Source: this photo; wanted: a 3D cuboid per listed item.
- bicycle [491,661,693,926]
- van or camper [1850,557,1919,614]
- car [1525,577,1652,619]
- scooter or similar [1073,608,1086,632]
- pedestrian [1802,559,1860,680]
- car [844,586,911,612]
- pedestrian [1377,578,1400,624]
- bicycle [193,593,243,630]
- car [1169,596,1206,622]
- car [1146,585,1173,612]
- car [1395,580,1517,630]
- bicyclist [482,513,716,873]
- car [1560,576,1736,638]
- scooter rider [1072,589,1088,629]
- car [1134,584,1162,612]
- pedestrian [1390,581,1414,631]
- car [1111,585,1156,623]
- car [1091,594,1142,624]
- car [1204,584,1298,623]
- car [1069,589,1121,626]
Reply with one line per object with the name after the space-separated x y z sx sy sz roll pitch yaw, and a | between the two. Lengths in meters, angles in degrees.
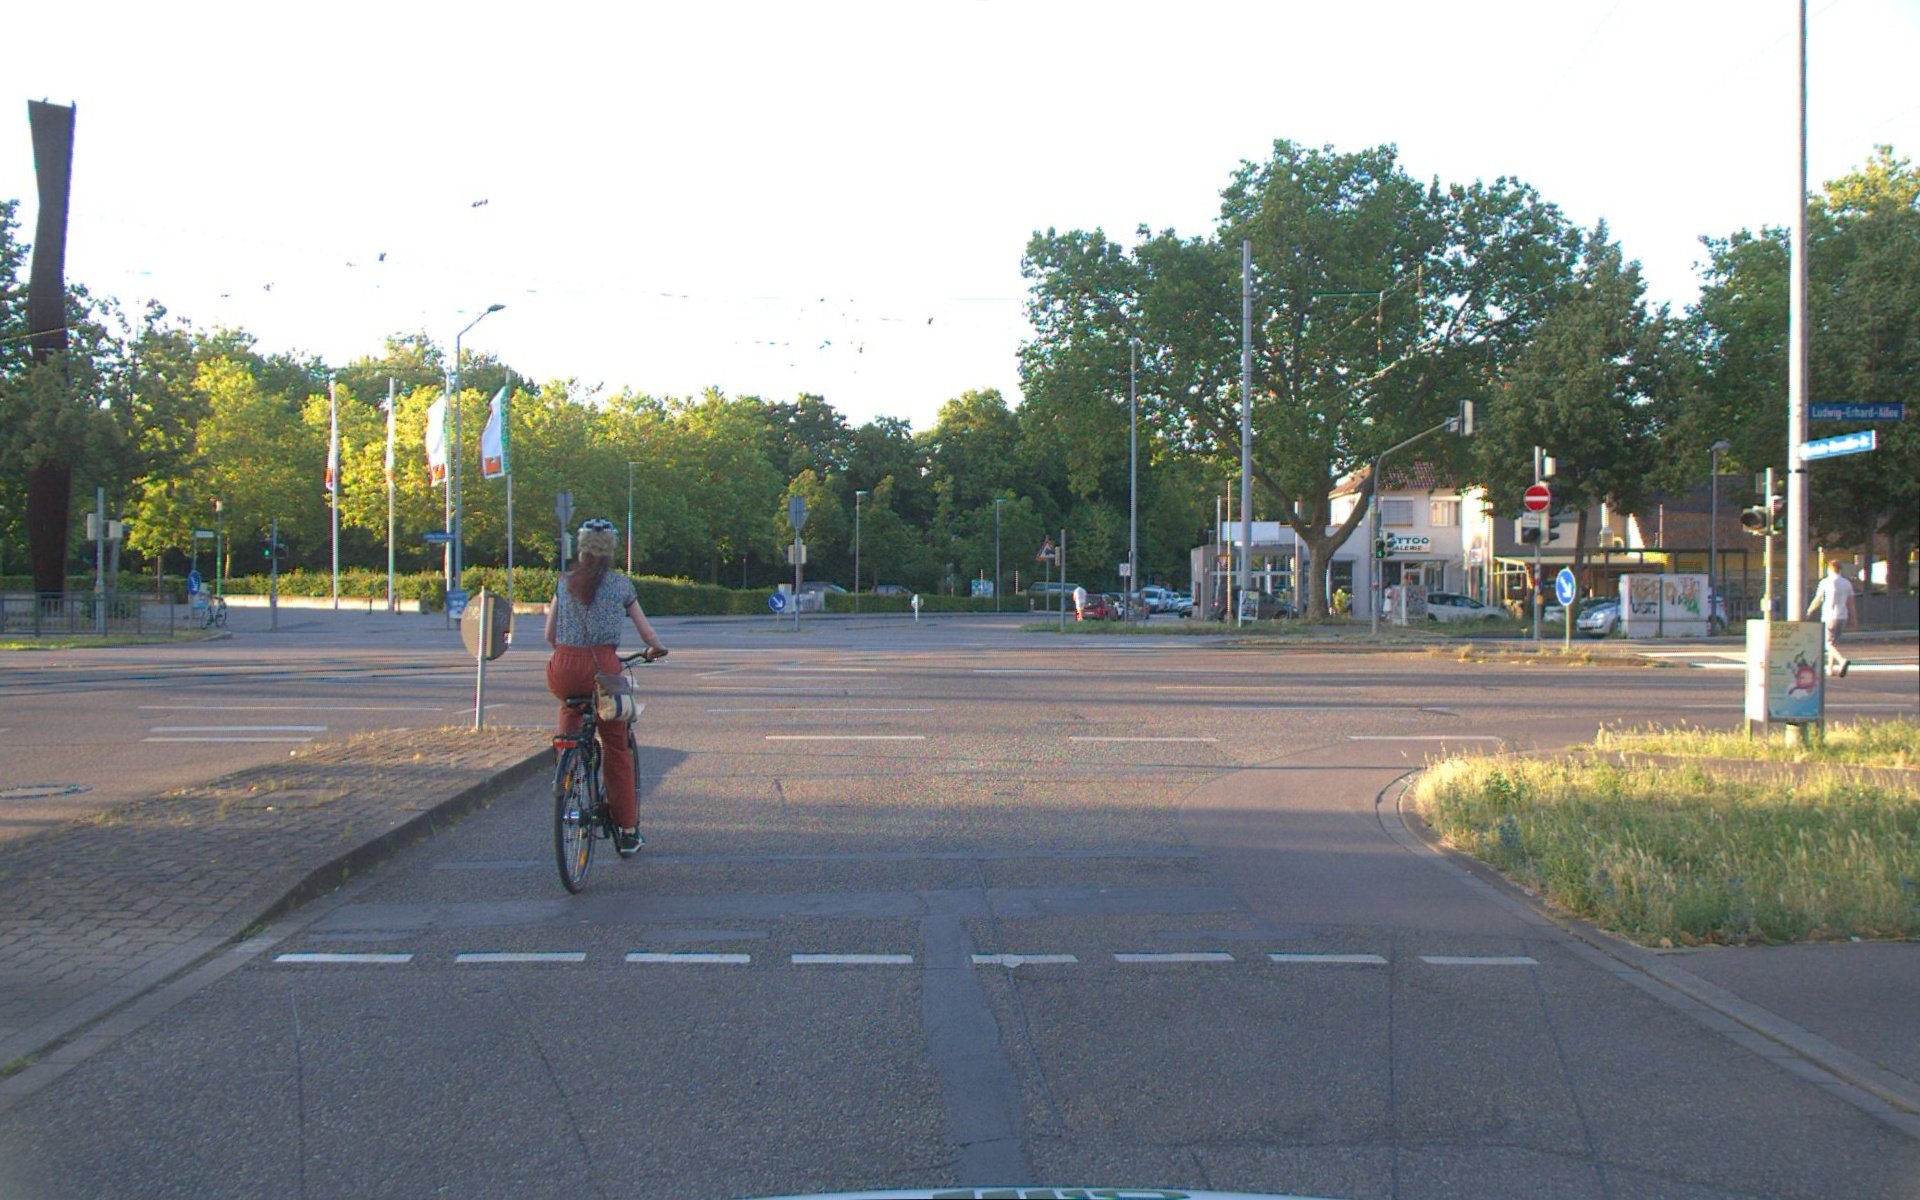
-1.814 0.903 8.448 0.621 1.086 2.121 0 0 -2 | bicycle
42.611 -0.619 72.045 6.426 2.452 2.265 0 -1 2 | van or camper
24.102 -0.084 63.521 4.143 1.605 2.000 0 0 1 | car
5.649 0.937 78.077 0.500 1.109 1.242 0 0 -2 | scooter or similar
13.381 0.288 25.404 0.747 1.822 0.801 1 0 28 | pedestrian
-4.981 -0.057 100.278 3.905 1.588 2.000 0 0 0 | car
15.693 0.030 60.621 0.704 1.667 0.897 0 0 22 | pedestrian
-23.917 0.353 53.366 0.685 1.156 2.390 0 0 -4 | bicycle
14.675 0.550 106.593 1.874 1.630 4.003 0 0 16 | car
15.350 -0.105 127.170 1.951 2.049 4.003 0 0 5 | car
19.145 0.180 63.995 4.143 1.878 2.000 0 0 1 | car
-1.829 0.449 8.536 1.011 1.748 0.995 0 0 -2 | bicyclist
20.120 0.190 48.470 4.446 1.758 1.859 0 0 -6 | car
5.680 0.432 78.097 0.688 1.887 0.668 0 -1 -2 | scooter rider
13.908 -0.147 122.546 1.951 2.049 4.003 0 0 5 | car
15.832 0.208 59.255 0.704 1.785 0.897 0 0 22 | pedestrian
9.928 0.215 94.544 1.874 2.083 4.003 0 0 16 | car
8.612 0.483 90.682 1.952 1.601 4.002 0 0 18 | car
14.104 0.172 80.325 4.285 1.867 1.950 0 0 3 | car
7.129 0.359 86.836 1.829 1.907 3.876 0 0 19 | car
